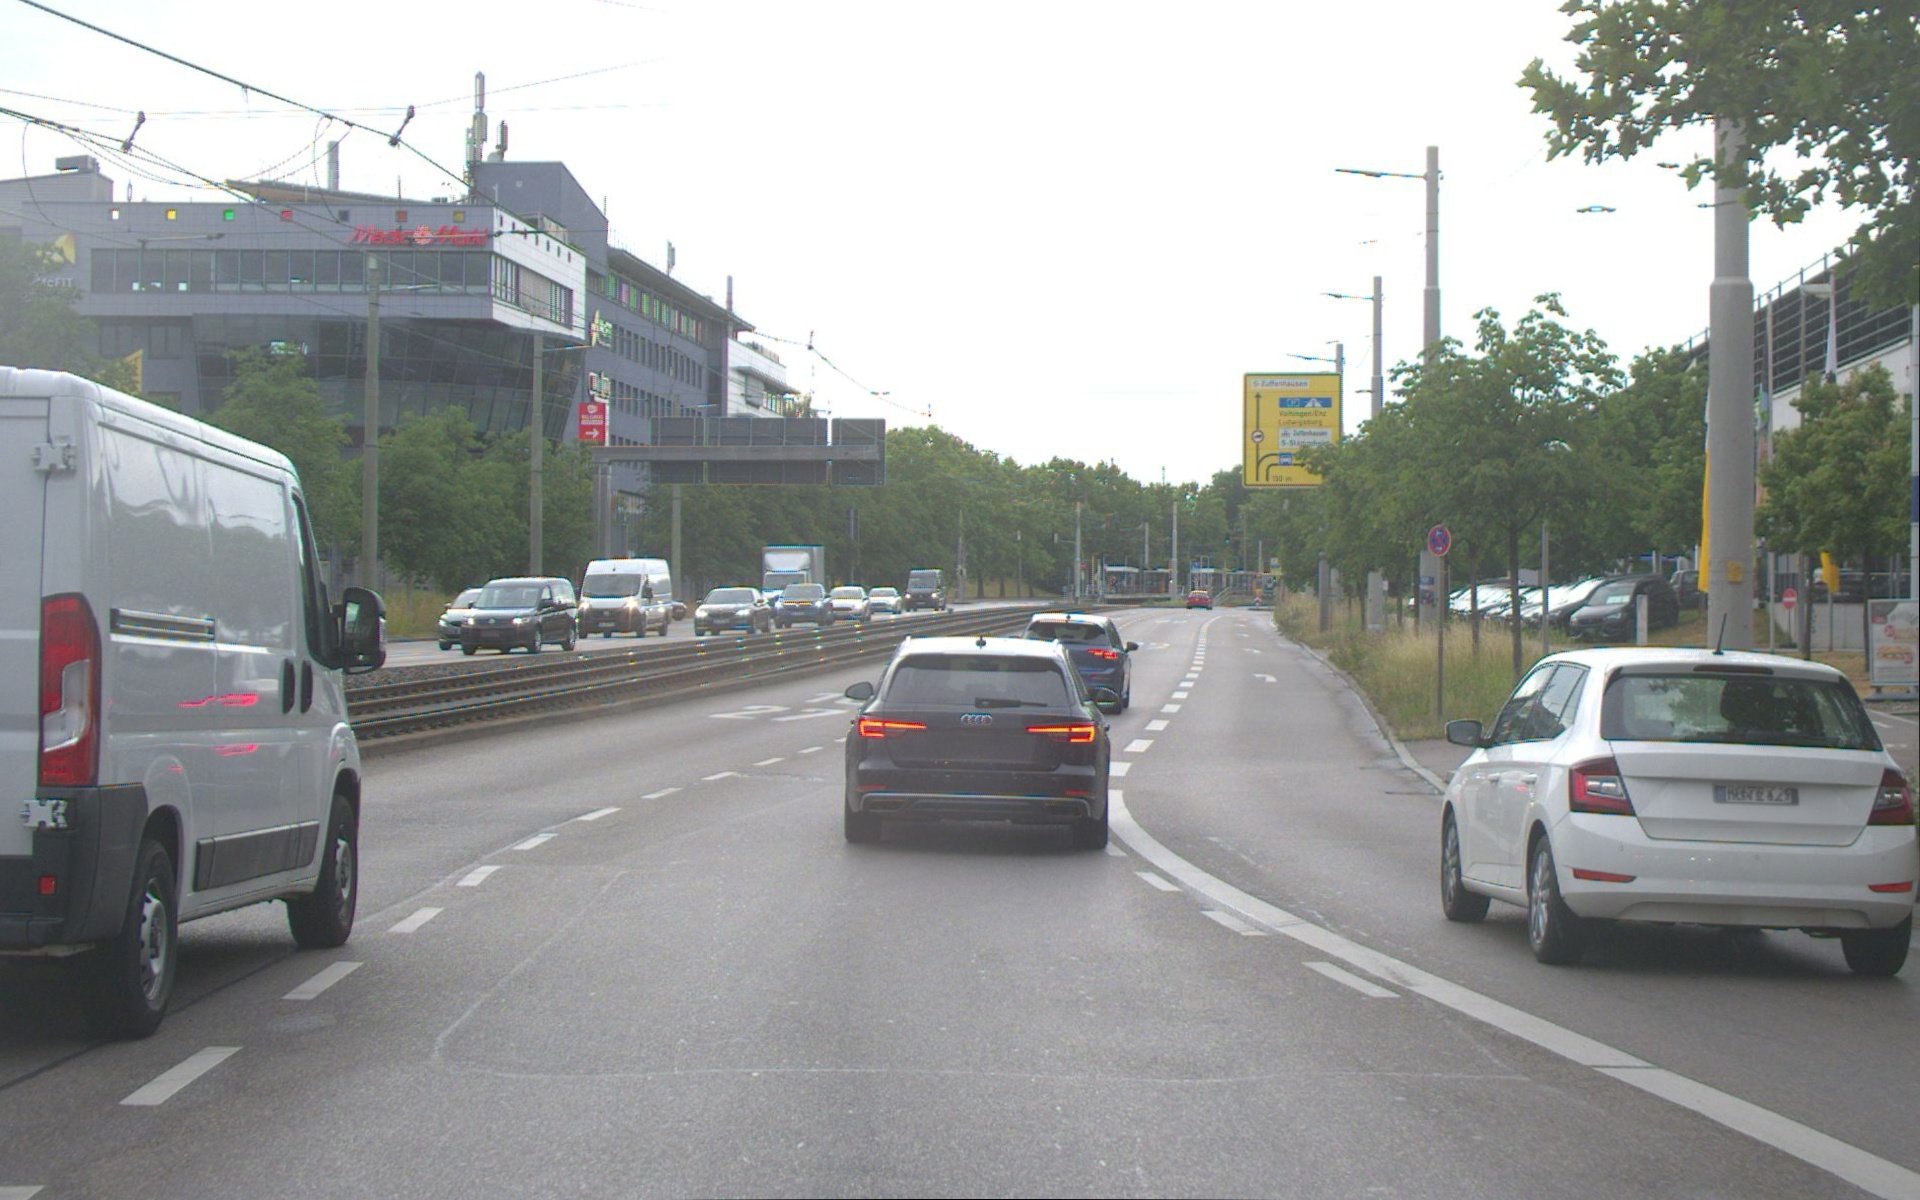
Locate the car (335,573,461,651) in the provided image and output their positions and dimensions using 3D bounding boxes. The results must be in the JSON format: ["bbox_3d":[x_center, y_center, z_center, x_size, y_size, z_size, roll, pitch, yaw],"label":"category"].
[{"bbox_3d":[-14.193,0.300,87.048,1.801,1.921,4.801,0,0,8],"label":"car"}]

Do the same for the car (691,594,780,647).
[{"bbox_3d":[-7.020,0.622,107.885,1.801,1.615,4.954,0,0,8],"label":"car"}]

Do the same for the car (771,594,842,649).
[{"bbox_3d":[-5.701,0.783,127.822,2.159,1.879,4.301,3,0,3],"label":"car"}]

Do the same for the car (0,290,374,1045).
[{"bbox_3d":[-3.894,0.206,12.901,2.445,2.286,4.904,1,-1,1],"label":"car"}]

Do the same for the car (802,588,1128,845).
[{"bbox_3d":[-0.056,0.759,24.281,1.993,1.632,4.000,1,0,-4],"label":"car"}]

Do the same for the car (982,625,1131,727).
[{"bbox_3d":[1.523,1.139,52.784,1.894,1.460,3.908,1,-1,7],"label":"car"}]

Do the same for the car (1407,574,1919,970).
[{"bbox_3d":[3.438,0.754,16.743,1.829,1.650,4.000,2,0,-2],"label":"car"}]

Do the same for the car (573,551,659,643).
[{"bbox_3d":[-10.761,-0.101,107.775,2.158,2.713,5.068,3,0,-1],"label":"car"}]

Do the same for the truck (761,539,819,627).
[{"bbox_3d":[-7.418,-0.730,150.769,2.158,3.633,6.874,3,0,-1],"label":"truck"}]

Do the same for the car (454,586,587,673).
[{"bbox_3d":[-10.403,0.691,81.618,2.159,1.879,4.300,3,0,5],"label":"car"}]

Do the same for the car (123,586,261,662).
[{"bbox_3d":[-15.874,0.492,71.224,1.564,1.505,3.989,1,0,6],"label":"car"}]
